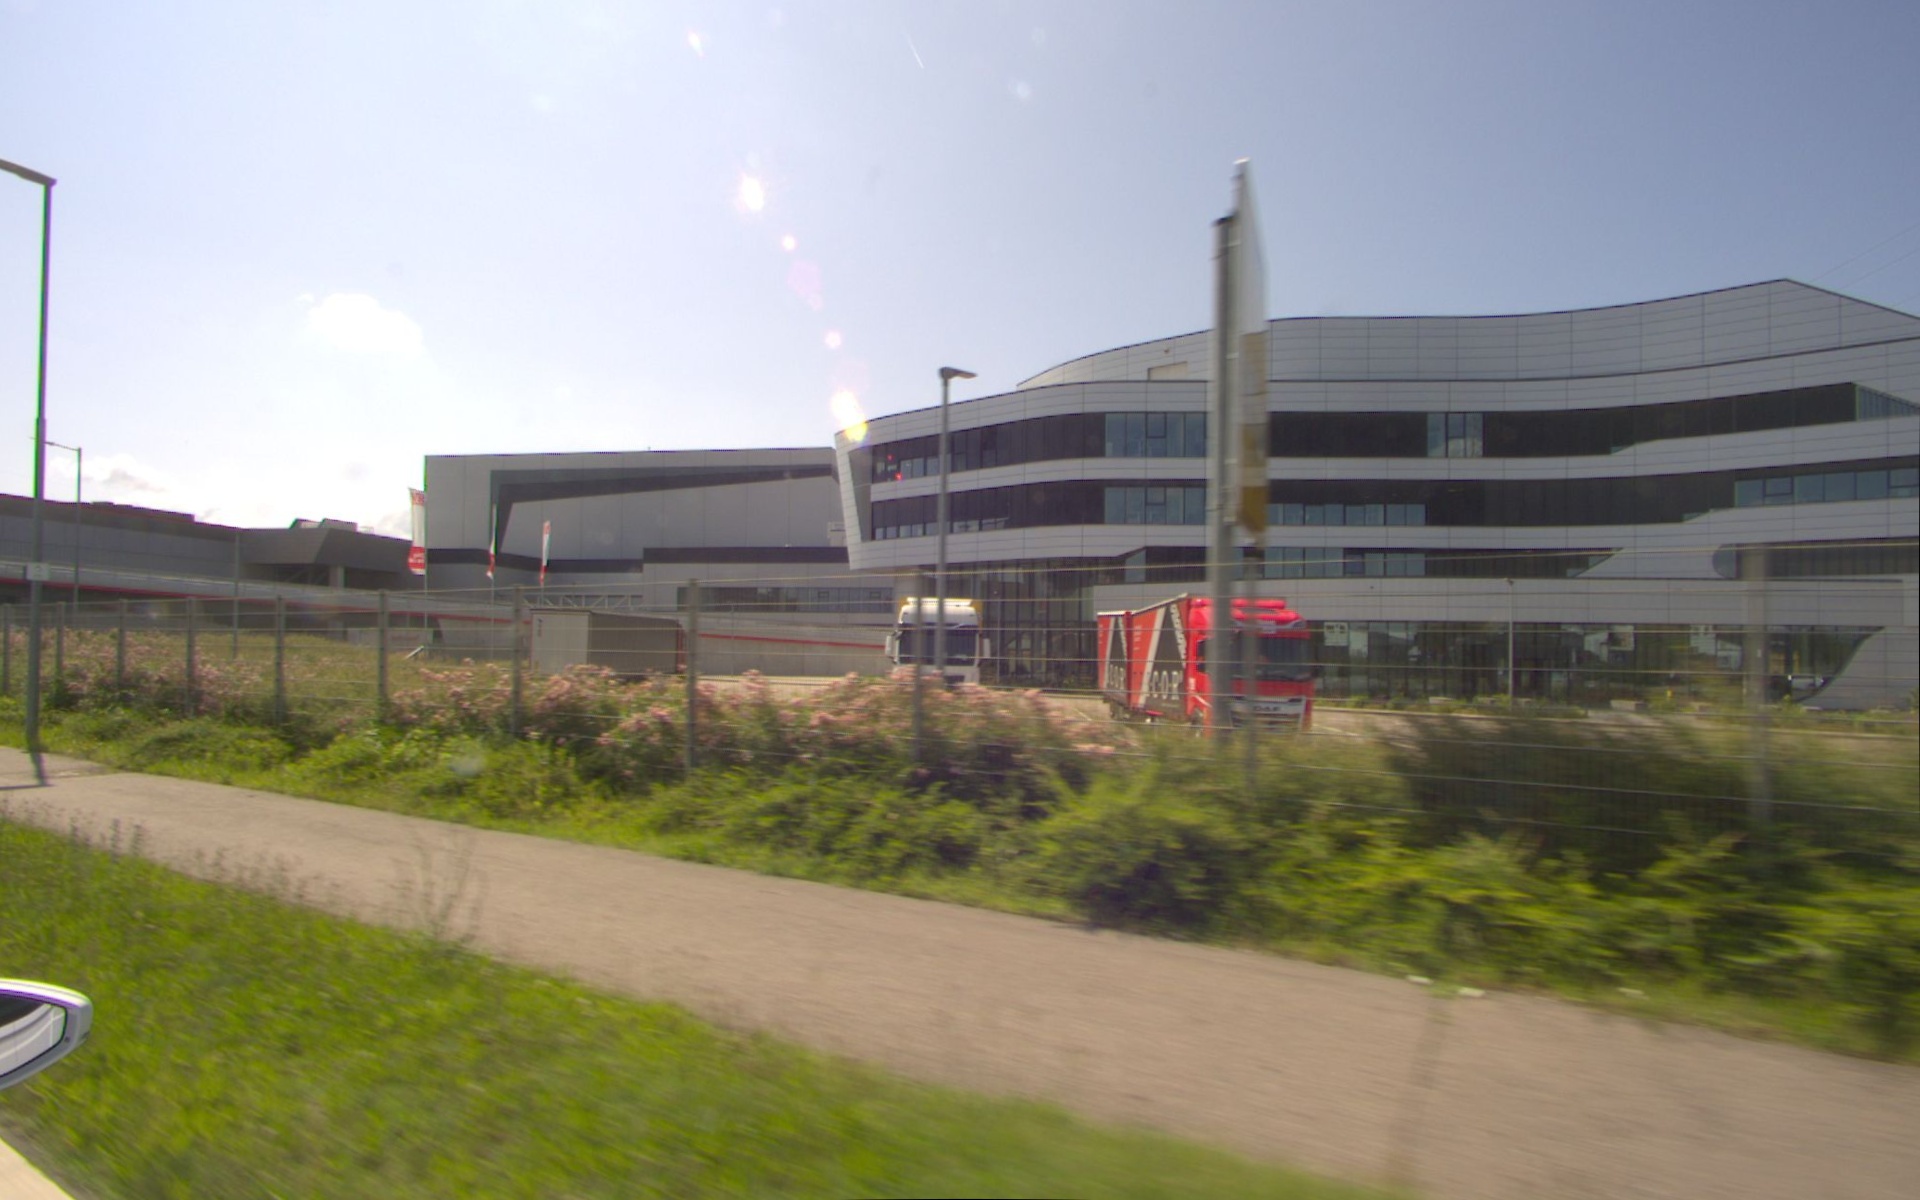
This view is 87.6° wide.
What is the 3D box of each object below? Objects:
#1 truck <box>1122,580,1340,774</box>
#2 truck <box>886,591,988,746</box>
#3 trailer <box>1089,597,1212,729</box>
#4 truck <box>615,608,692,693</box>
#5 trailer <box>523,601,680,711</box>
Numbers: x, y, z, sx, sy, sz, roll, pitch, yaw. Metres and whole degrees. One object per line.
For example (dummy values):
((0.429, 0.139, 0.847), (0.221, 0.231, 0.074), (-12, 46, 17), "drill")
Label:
((6.940, 1.899, 27.874), (2.970, 4.310, 10.979), (0, -2, -1), "truck")
((-0.615, 2.052, 32.820), (2.767, 4.225, 10.979), (0, -2, 0), "truck")
((6.902, 2.240, 37.685), (2.970, 4.350, 8.719), (0, -2, 0), "trailer")
((-16.869, 2.760, 55.400), (2.712, 4.479, 5.293), (0, -1, -1), "truck")
((-16.771, 2.532, 48.355), (2.712, 4.494, 14.069), (0, -2, -1), "trailer")
